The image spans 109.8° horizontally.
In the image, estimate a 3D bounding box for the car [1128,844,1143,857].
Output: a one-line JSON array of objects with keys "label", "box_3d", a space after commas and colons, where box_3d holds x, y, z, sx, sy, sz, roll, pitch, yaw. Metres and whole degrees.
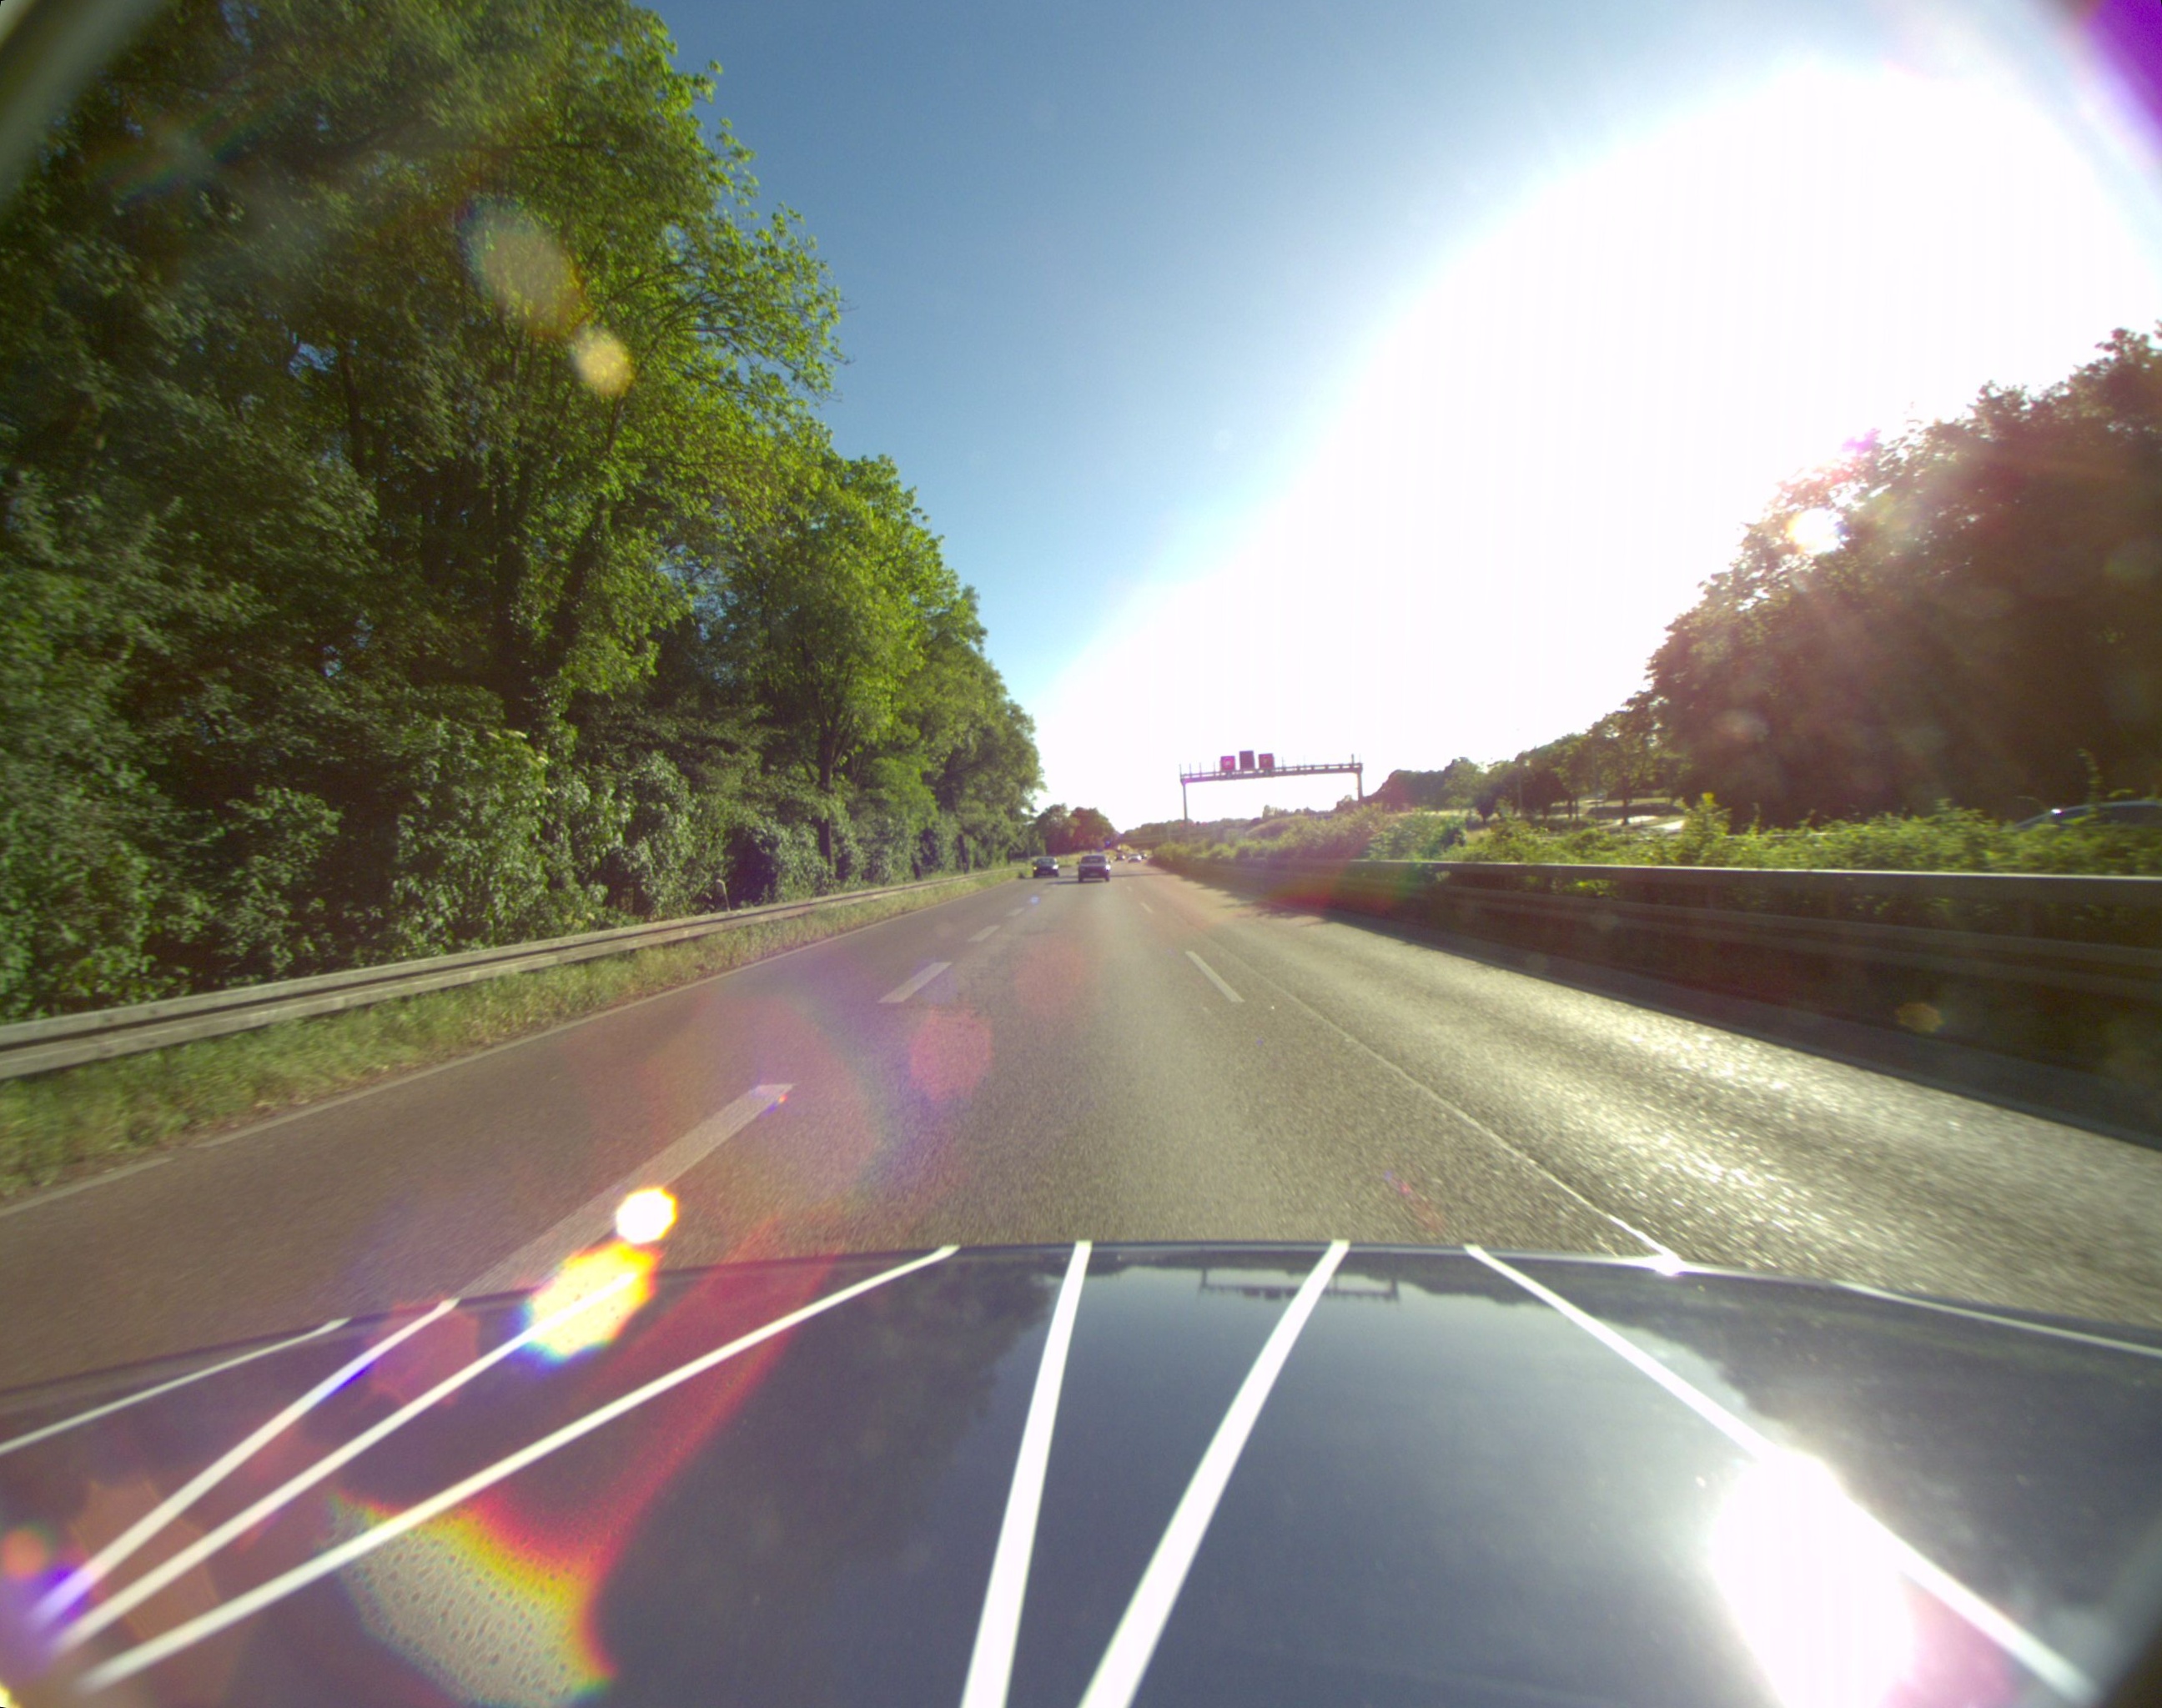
[{"label": "car", "box_3d": [8.200, -0.510, 114.186, 1.998, 1.793, 3.999, -2, 1, 1]}]

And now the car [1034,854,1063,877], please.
[{"label": "car", "box_3d": [-2.325, 0.805, 55.404, 1.712, 1.565, 3.422, -2, 1, 3]}]

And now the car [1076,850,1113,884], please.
[{"label": "car", "box_3d": [0.772, 0.680, 40.961, 1.712, 1.565, 3.423, -5, 1, 3]}]

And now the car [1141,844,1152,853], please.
[{"label": "car", "box_3d": [12.850, -1.096, 149.739, 1.998, 1.740, 4.374, -2, 1, 5]}]

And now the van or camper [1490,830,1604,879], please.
[{"label": "van or camper", "box_3d": [21.474, -0.019, 35.399, 1.881, 2.002, 5.940, -3, 0, 3]}]

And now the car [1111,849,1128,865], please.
[{"label": "car", "box_3d": [4.134, 0.291, 80.893, 1.712, 1.565, 3.422, -2, 1, 3]}]

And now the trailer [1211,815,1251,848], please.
[{"label": "trailer", "box_3d": [19.490, -2.832, 99.534, 3.029, 3.965, 14.027, -2, 1, 3]}]

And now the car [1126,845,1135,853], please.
[{"label": "car", "box_3d": [11.478, -1.267, 176.907, 1.998, 1.740, 4.374, -2, 1, 5]}]

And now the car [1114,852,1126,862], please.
[{"label": "car", "box_3d": [7.317, 0.474, 141.575, 1.998, 1.740, 4.373, -2, 1, 4]}]

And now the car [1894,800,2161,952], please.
[{"label": "car", "box_3d": [15.268, 0.241, 11.338, 1.998, 2.002, 4.000, -2, 1, 1]}]
